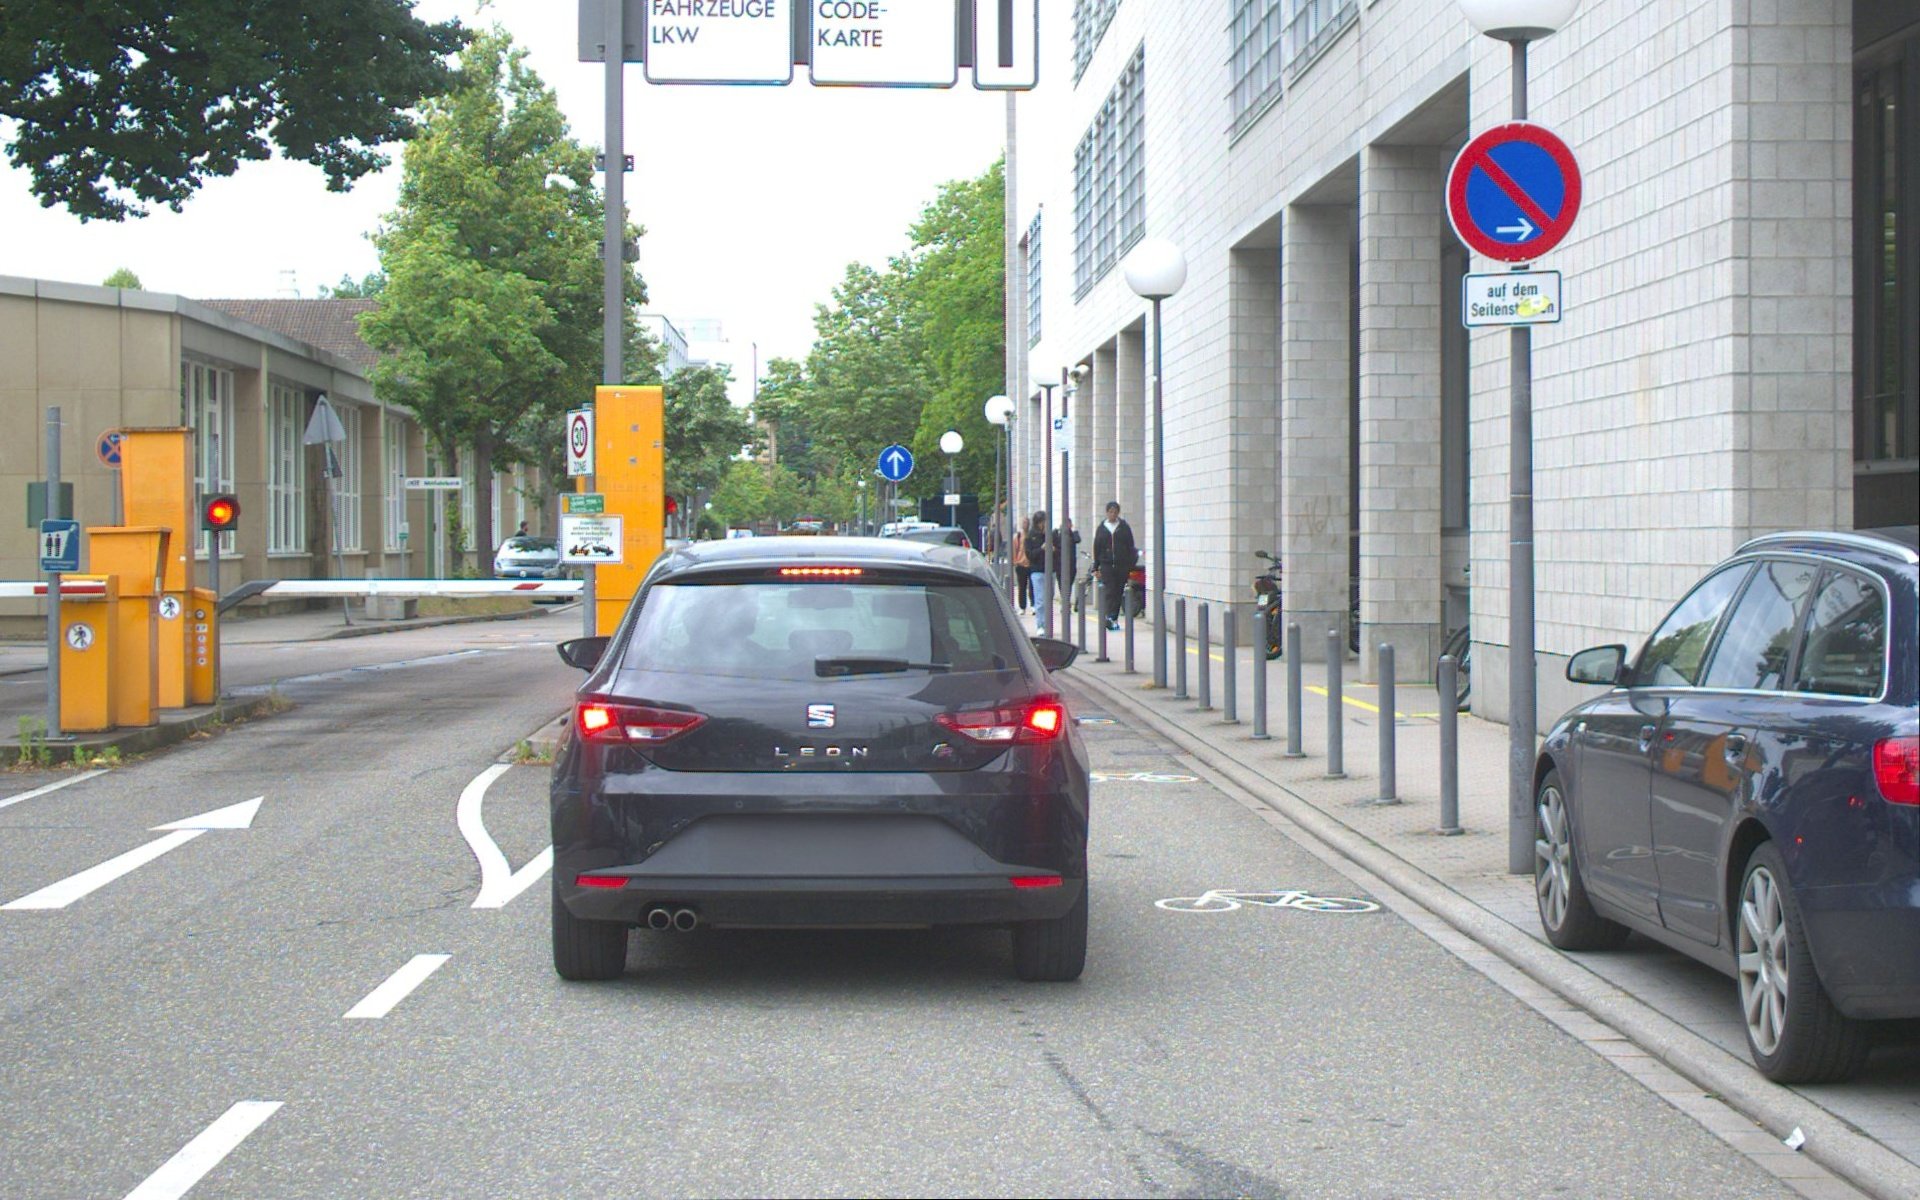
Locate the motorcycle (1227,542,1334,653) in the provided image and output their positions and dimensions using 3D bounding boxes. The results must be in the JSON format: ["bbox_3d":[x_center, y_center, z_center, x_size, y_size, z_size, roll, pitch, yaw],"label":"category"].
[{"bbox_3d":[3.708,-0.046,39.619,0.566,1.144,2.215,2,4,23],"label":"motorcycle"}]

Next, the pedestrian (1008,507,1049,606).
[{"bbox_3d":[1.194,-0.752,59.755,0.696,1.708,0.489,0,1,2],"label":"pedestrian"}]

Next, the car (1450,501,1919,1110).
[{"bbox_3d":[2.944,0.443,10.659,1.993,1.447,4.923,0,1,-2],"label":"car"}]

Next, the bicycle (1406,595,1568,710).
[{"bbox_3d":[4.086,0.387,26.516,0.463,0.749,2.292,-4,0,28],"label":"bicycle"}]

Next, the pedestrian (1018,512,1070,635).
[{"bbox_3d":[1.187,-0.379,48.518,0.690,1.693,0.588,1,3,0],"label":"pedestrian"}]

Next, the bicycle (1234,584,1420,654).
[{"bbox_3d":[3.901,0.200,36.622,1.896,0.696,0.493,1,3,-5],"label":"bicycle"}]

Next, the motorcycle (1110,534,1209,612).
[{"bbox_3d":[3.285,-0.458,56.372,0.760,1.144,2.660,2,4,23],"label":"motorcycle"}]

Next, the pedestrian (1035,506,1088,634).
[{"bbox_3d":[1.370,-0.409,46.510,0.696,1.708,0.489,0,1,2],"label":"pedestrian"}]

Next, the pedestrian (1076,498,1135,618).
[{"bbox_3d":[2.101,-0.612,49.631,0.727,1.693,0.588,1,3,-7],"label":"pedestrian"}]

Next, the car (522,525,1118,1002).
[{"bbox_3d":[-0.507,0.449,12.384,1.782,1.414,4.130,0,1,-2],"label":"car"}]

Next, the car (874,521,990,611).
[{"bbox_3d":[-0.573,-0.646,65.145,1.993,1.617,4.428,-1,1,-3],"label":"car"}]

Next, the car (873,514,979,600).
[{"bbox_3d":[-0.725,-0.892,69.669,1.993,1.617,4.428,-2,1,-2],"label":"car"}]

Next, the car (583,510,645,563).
[{"bbox_3d":[-10.563,-1.954,105.185,1.770,1.595,4.001,0,1,-4],"label":"car"}]

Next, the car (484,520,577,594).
[{"bbox_3d":[-9.587,-0.984,76.916,1.770,1.595,4.001,0,1,-3],"label":"car"}]

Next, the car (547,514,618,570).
[{"bbox_3d":[-10.925,-1.688,99.673,1.770,1.595,4.001,0,1,-2],"label":"car"}]
